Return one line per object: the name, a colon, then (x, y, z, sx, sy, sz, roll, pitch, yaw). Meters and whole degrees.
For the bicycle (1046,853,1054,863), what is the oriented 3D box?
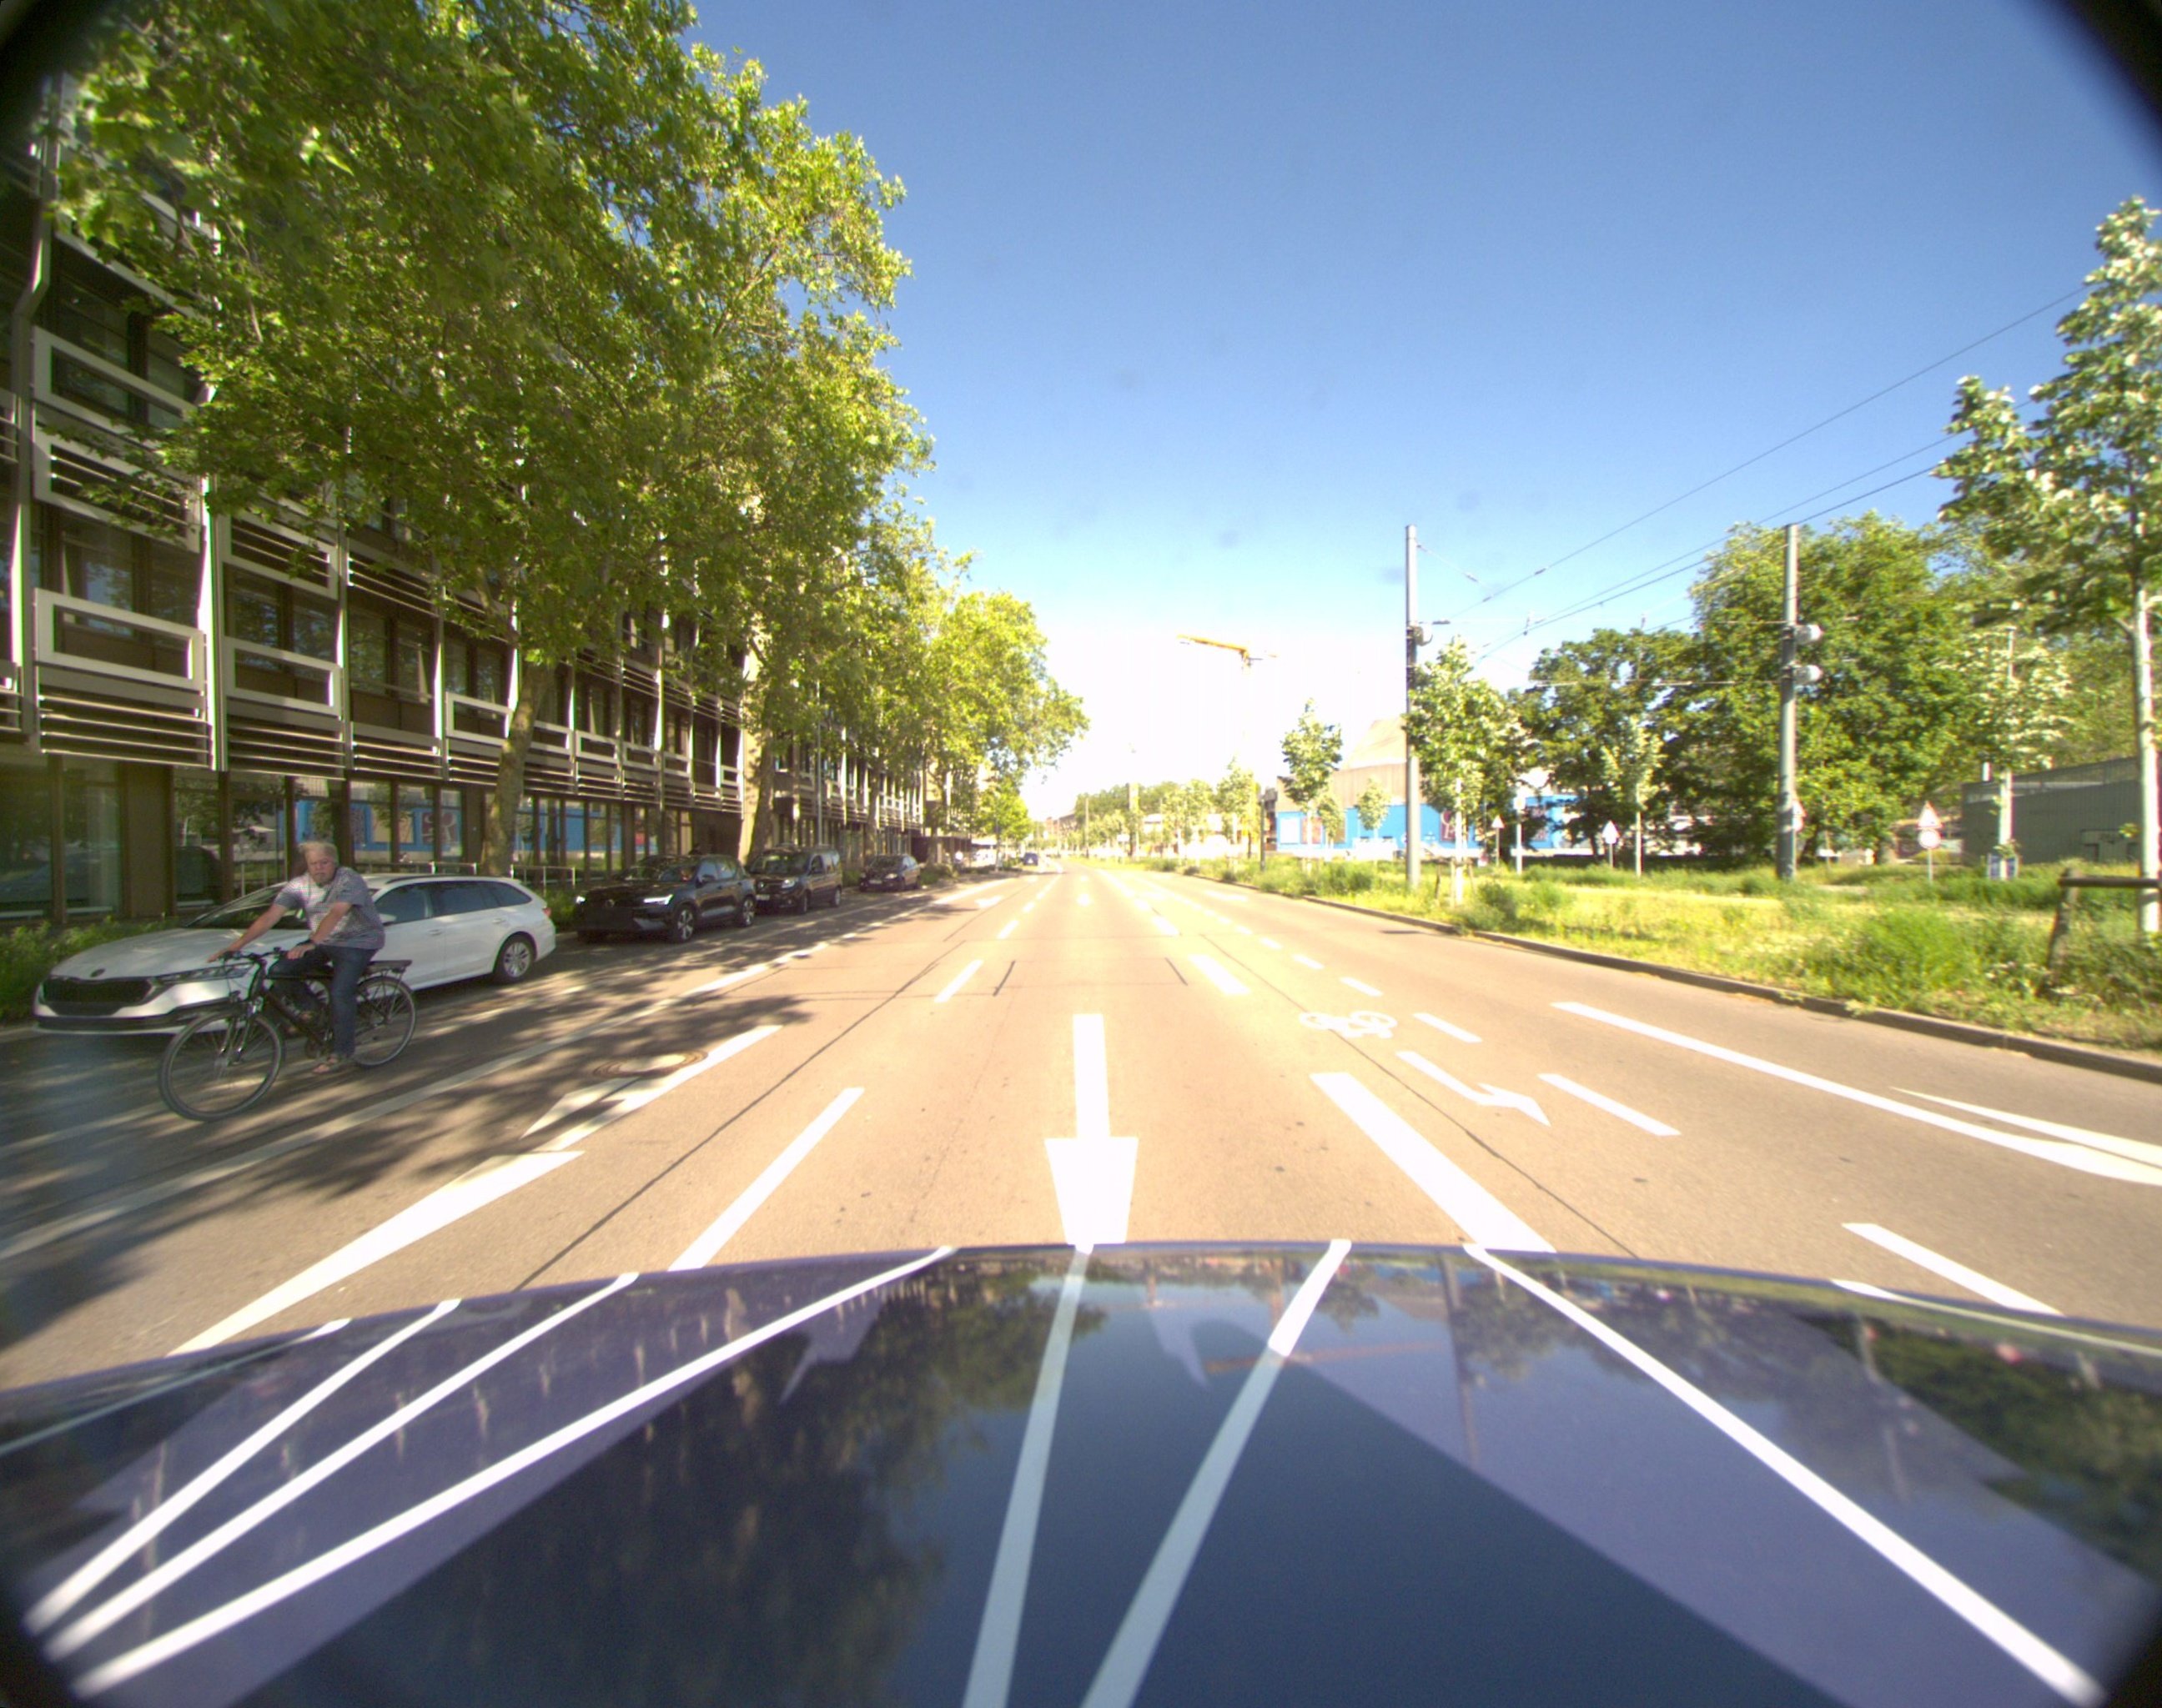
bicycle: (-3.849, 0.483, 95.207, 0.845, 1.123, 2.553, -1, 0, 1)

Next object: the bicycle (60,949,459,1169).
bicycle: (-5.592, 1.325, 5.411, 0.711, 0.987, 1.923, -3, 1, -1)

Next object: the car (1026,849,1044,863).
car: (-5.758, 0.241, 95.303, 1.999, 1.598, 3.895, -1, 0, -1)

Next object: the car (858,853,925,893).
car: (-7.941, 0.755, 32.283, 1.752, 1.545, 4.336, 1, 0, 0)

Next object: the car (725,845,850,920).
car: (-7.884, 0.695, 20.874, 1.752, 1.811, 4.336, 1, 0, 0)

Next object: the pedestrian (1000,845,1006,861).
pedestrian: (-8.636, -0.098, 84.451, 0.591, 1.830, 0.569, -1, 1, 0)

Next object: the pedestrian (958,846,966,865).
pedestrian: (-11.531, 0.146, 73.711, 0.591, 1.830, 0.697, -1, 1, 0)

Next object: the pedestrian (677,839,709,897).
pedestrian: (-13.581, 0.484, 26.617, 0.741, 2.002, 0.626, -1, 1, 0)

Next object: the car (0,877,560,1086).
car: (-8.168, 1.090, 8.335, 1.752, 1.481, 4.559, 1, 0, 0)

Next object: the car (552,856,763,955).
car: (-8.119, 0.883, 15.110, 1.752, 1.624, 4.336, 1, 0, 0)

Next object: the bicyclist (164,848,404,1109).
bicyclist: (-5.611, 0.817, 5.415, 0.711, 1.678, 0.852, -3, 1, -1)

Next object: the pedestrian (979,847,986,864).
pedestrian: (-10.175, 0.150, 78.478, 0.591, 1.830, 0.696, -1, 1, 0)

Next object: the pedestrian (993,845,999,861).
pedestrian: (-10.263, -0.114, 91.629, 0.591, 1.830, 0.569, -1, 1, 0)

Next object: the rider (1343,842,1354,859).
rider: (23.224, -0.297, 66.043, 0.724, 1.513, 0.631, -1, 1, -2)

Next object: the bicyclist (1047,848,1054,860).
bicyclist: (-3.847, -0.001, 95.203, 0.830, 1.380, 0.903, -1, 1, 1)

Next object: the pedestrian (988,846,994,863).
pedestrian: (-9.910, 0.026, 83.697, 0.591, 1.830, 0.569, -1, 1, 0)
